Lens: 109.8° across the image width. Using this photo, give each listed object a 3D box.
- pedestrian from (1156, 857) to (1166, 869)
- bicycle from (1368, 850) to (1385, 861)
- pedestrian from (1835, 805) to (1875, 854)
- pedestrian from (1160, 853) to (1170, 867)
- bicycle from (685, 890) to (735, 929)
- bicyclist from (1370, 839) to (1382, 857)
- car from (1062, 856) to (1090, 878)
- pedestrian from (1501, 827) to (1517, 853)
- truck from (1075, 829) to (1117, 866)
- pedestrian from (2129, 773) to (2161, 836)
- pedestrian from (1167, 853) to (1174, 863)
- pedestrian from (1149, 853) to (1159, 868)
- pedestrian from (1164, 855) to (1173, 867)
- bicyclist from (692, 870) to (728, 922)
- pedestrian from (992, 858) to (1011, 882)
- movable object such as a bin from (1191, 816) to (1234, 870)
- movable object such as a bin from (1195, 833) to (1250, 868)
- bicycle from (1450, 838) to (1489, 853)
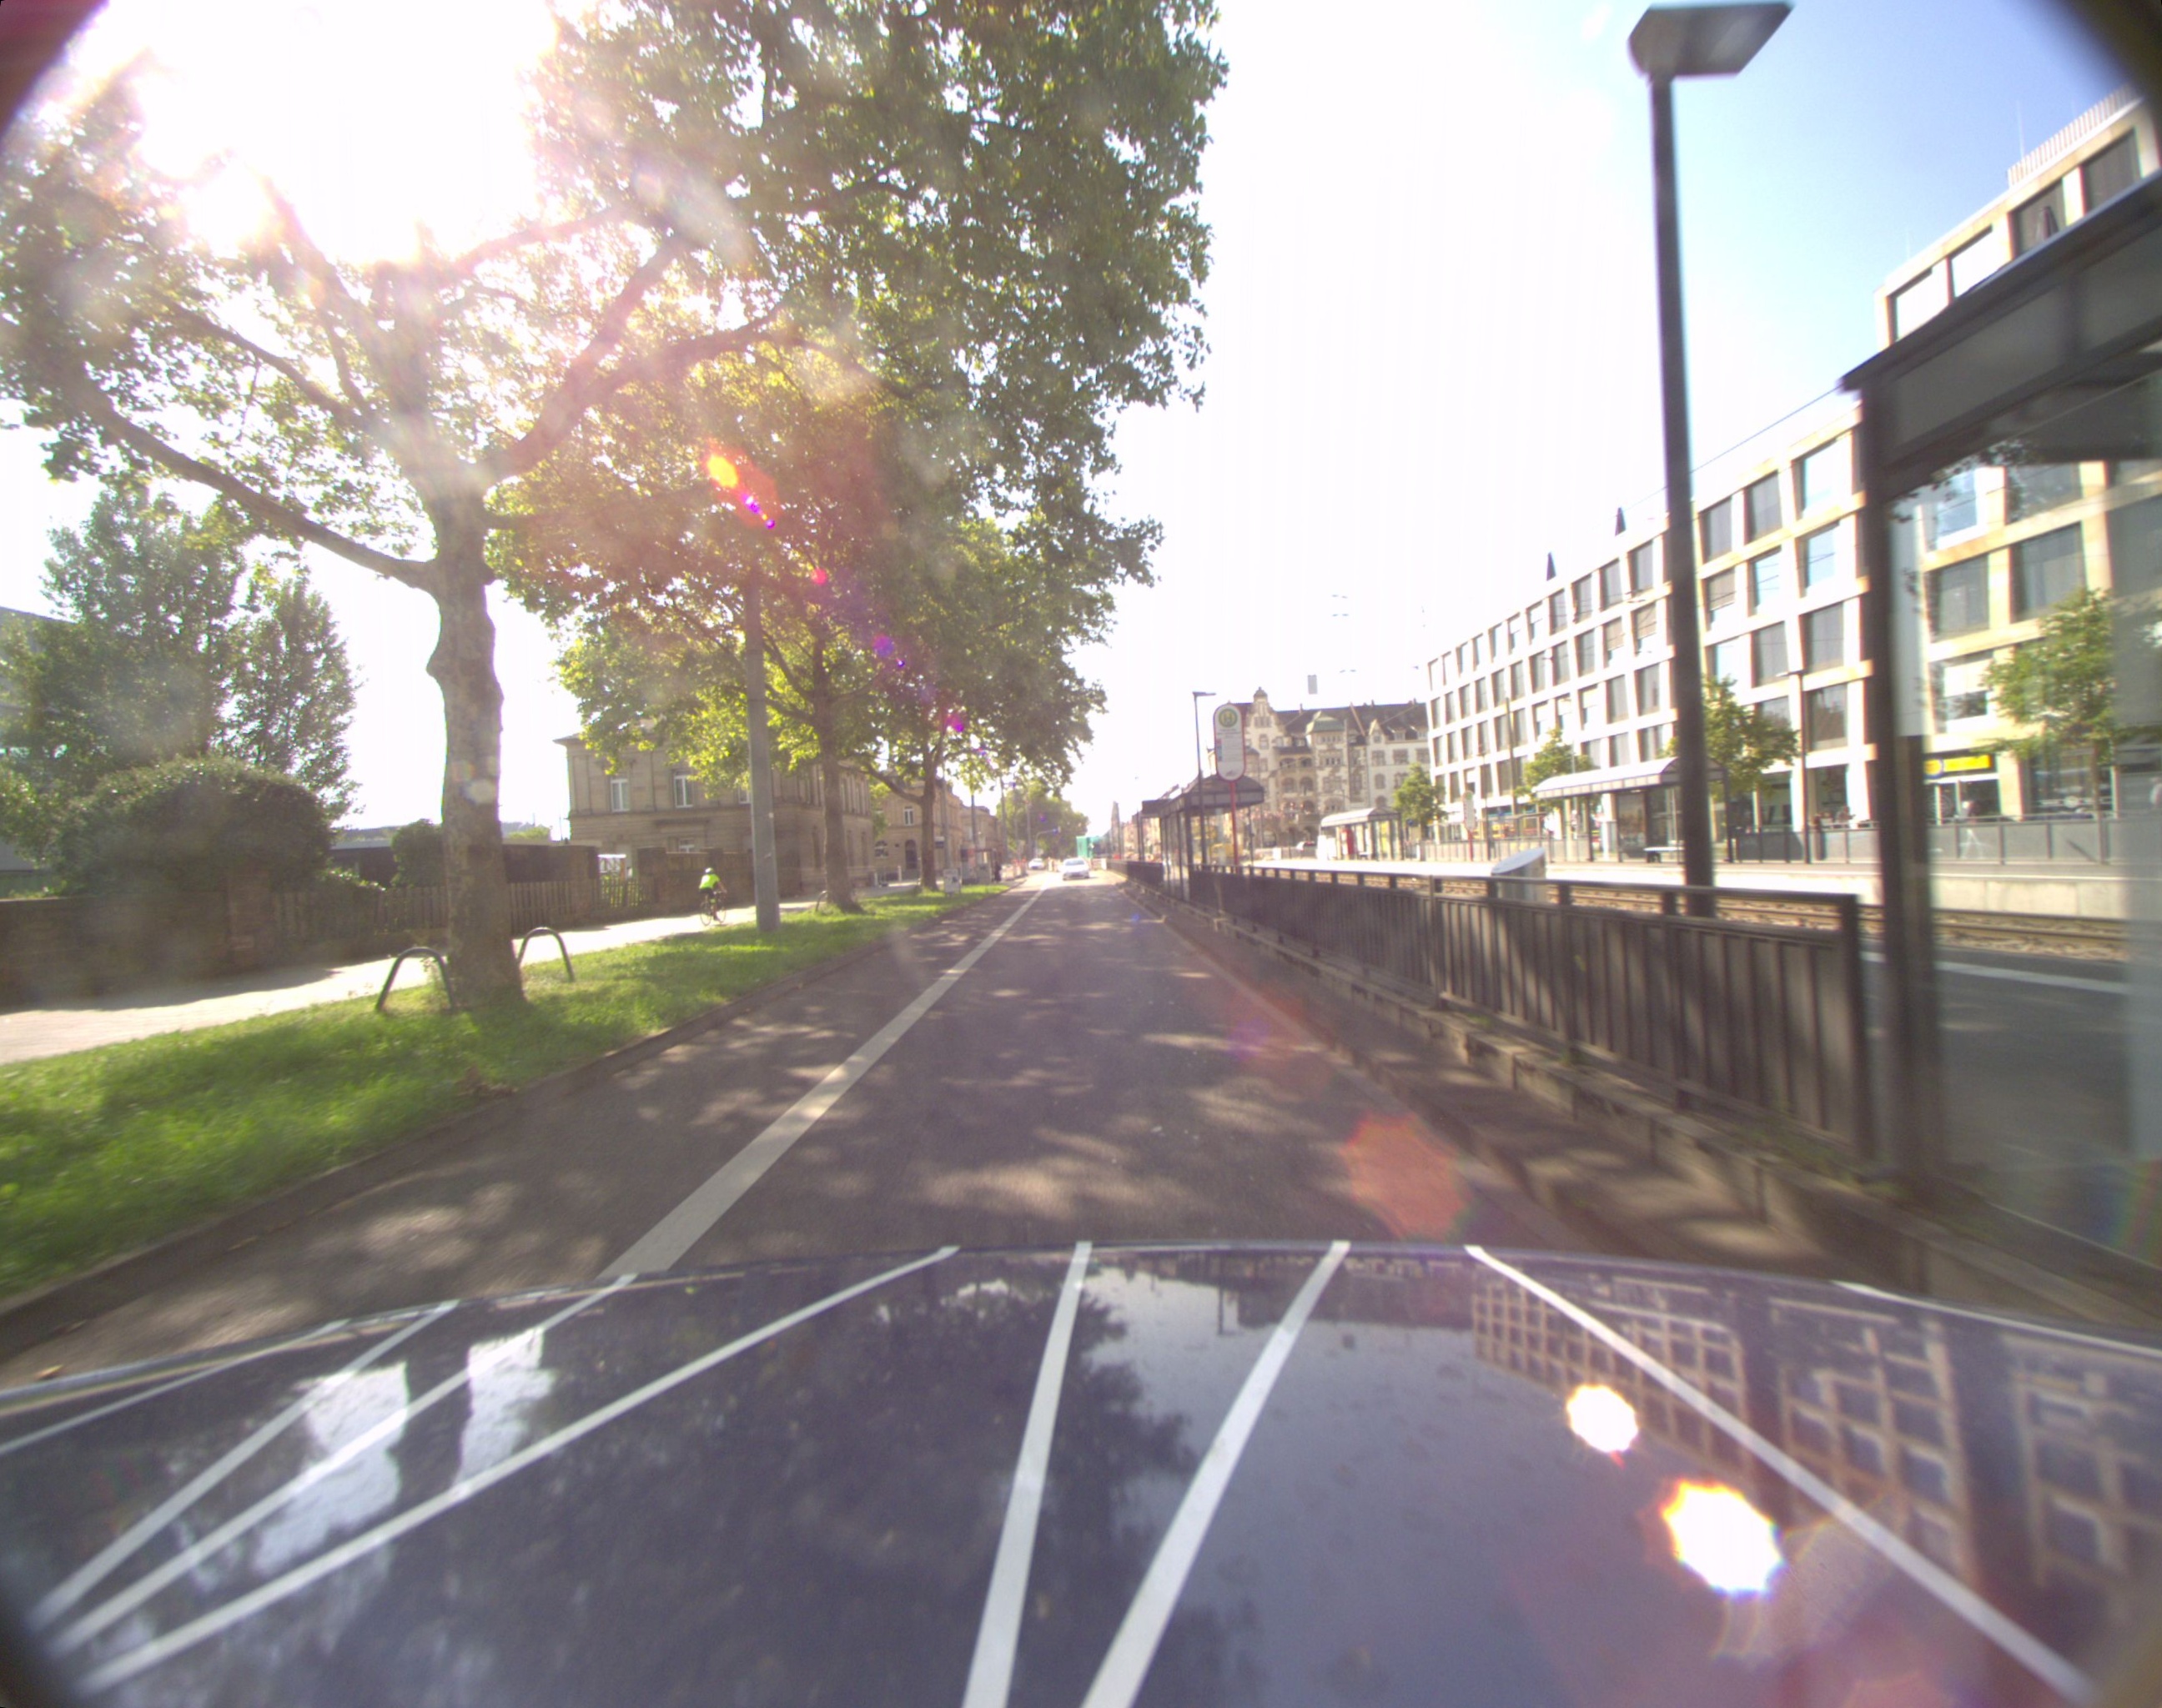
[{"bbox_3d":[7.173,0.805,68.252,0.702,0.949,0.882,-3,0,0],"label":"pedestrian"},{"bbox_3d":[23.632,0.130,60.843,0.631,0.817,1.897,0,1,-1],"label":"bicycle"},{"bbox_3d":[32.166,-1.000,31.583,0.769,2.002,0.822,-3,1,4],"label":"pedestrian"},{"bbox_3d":[8.180,0.602,74.173,0.701,1.327,0.838,-3,0,21],"label":"pedestrian"},{"bbox_3d":[-10.777,1.594,22.144,0.549,1.001,1.713,-3,0,0],"label":"bicycle"},{"bbox_3d":[23.630,-0.486,60.847,0.631,1.394,0.784,0,2,-1],"label":"bicyclist"},{"bbox_3d":[-0.286,0.867,53.297,1.844,1.451,4.000,-2,0,1],"label":"car"},{"bbox_3d":[33.963,-1.113,60.295,0.854,2.002,0.690,0,2,-1],"label":"pedestrian"},{"bbox_3d":[1.566,-0.608,83.774,2.817,3.766,9.008,-3,0,-10],"label":"truck"},{"bbox_3d":[32.834,-1.502,23.090,0.795,1.906,0.838,-1,2,-6],"label":"pedestrian"},{"bbox_3d":[11.525,0.553,97.679,0.678,1.239,0.547,-3,0,-2],"label":"pedestrian"},{"bbox_3d":[7.300,0.645,75.961,0.741,1.470,0.704,-3,0,22],"label":"pedestrian"},{"bbox_3d":[8.624,0.693,75.099,0.701,1.170,0.703,-3,0,21],"label":"pedestrian"},{"bbox_3d":[-10.796,1.221,22.133,0.549,1.445,0.842,-3,0,0],"label":"bicyclist"},{"bbox_3d":[-5.408,1.100,51.836,0.886,1.616,0.821,-3,0,-35],"label":"pedestrian"},{"bbox_3d":[11.807,-0.967,68.463,2.994,4.527,4.212,-3,0,2],"label":"movable object such as a bin"},{"bbox_3d":[14.240,-0.330,76.843,4.127,3.204,3.564,-3,0,-15],"label":"movable object such as a bin"},{"bbox_3d":[29.589,-0.656,57.888,2.437,0.962,1.020,-3,0,-2],"label":"bicycle"}]
